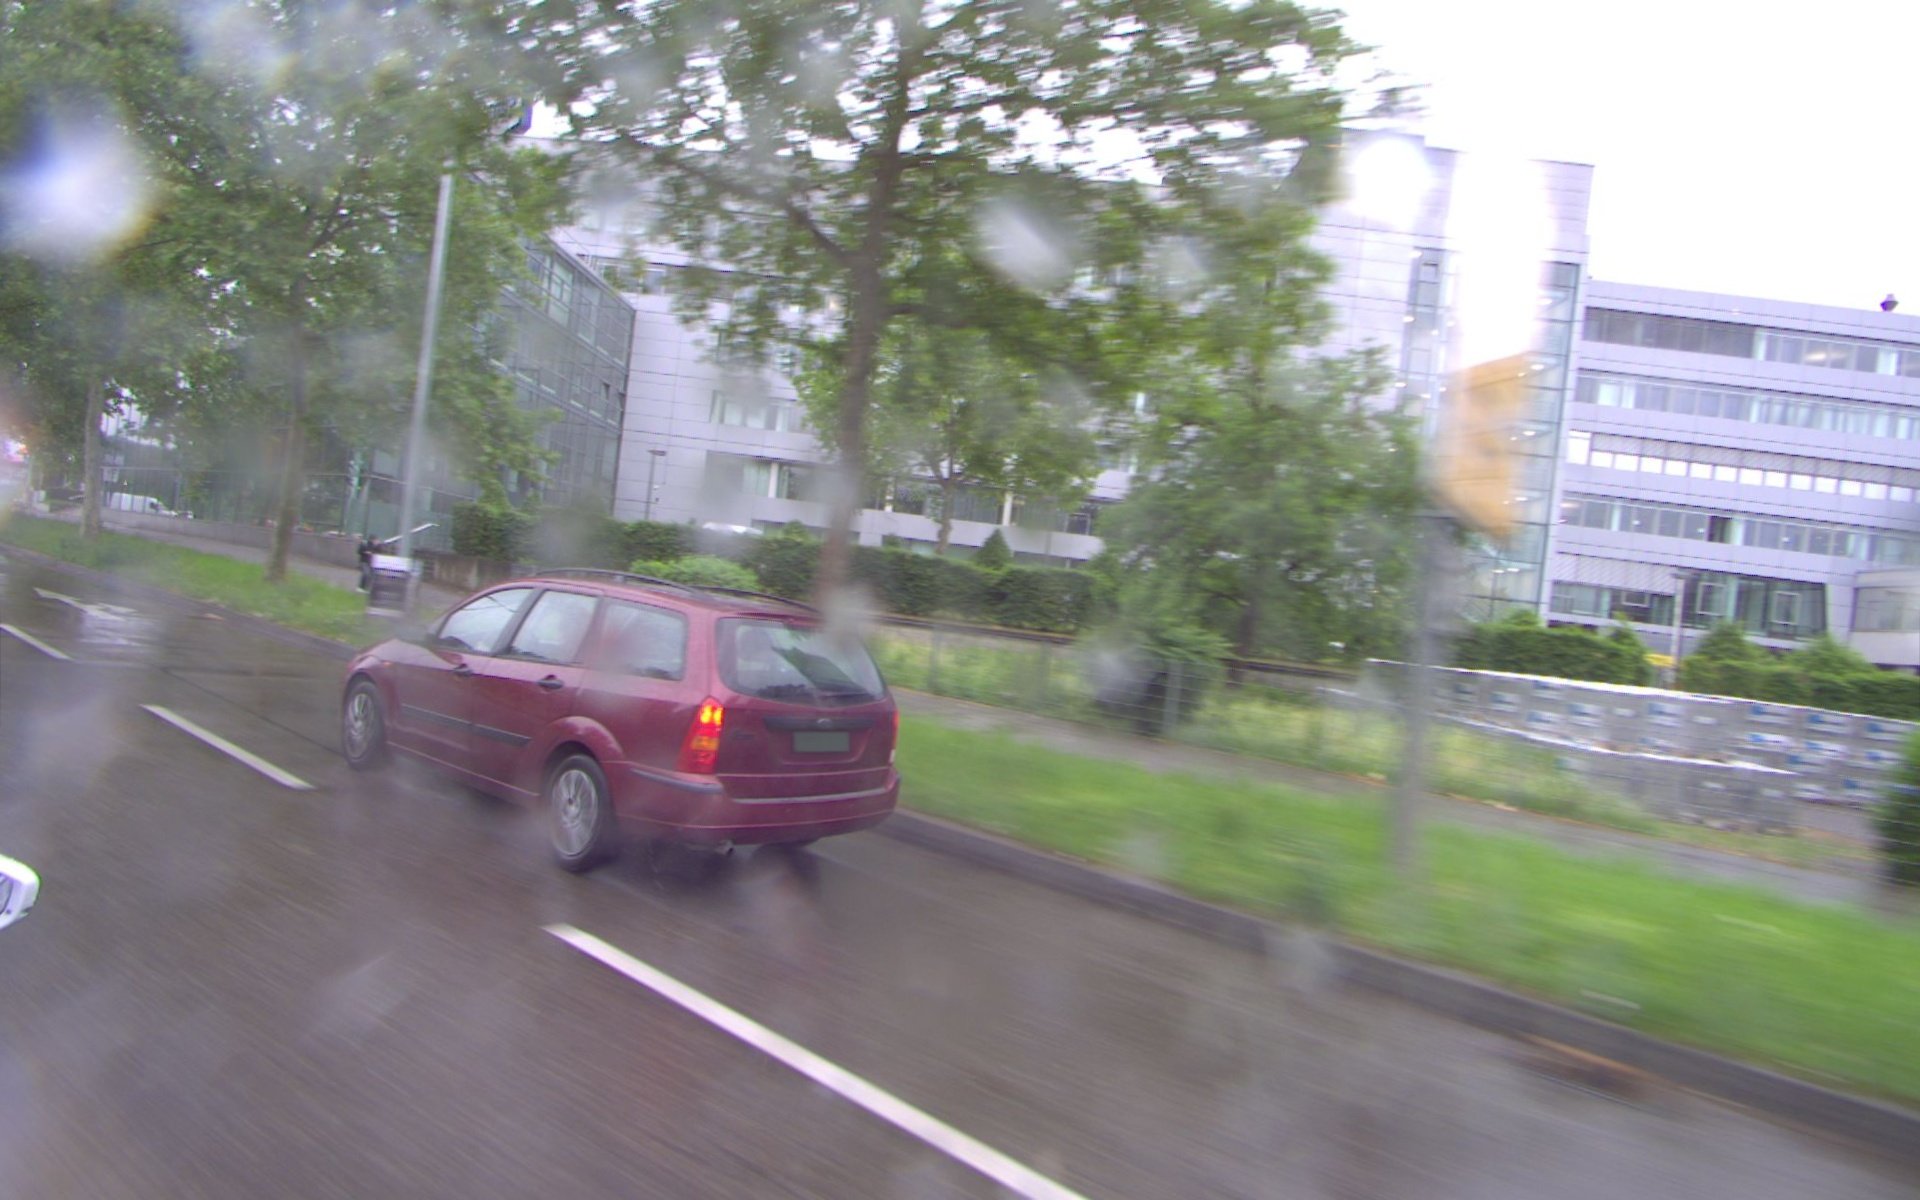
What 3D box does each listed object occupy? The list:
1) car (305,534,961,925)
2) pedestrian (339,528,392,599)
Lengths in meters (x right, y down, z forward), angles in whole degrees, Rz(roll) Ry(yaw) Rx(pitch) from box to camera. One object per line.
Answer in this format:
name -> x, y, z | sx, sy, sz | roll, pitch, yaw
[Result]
car -> -2.231, 0.589, 6.404 | 4.049, 1.554, 1.840 | 6, -2, 37
pedestrian -> -16.250, -1.007, 27.486 | 1.058, 1.783, 0.665 | 7, 0, 32
